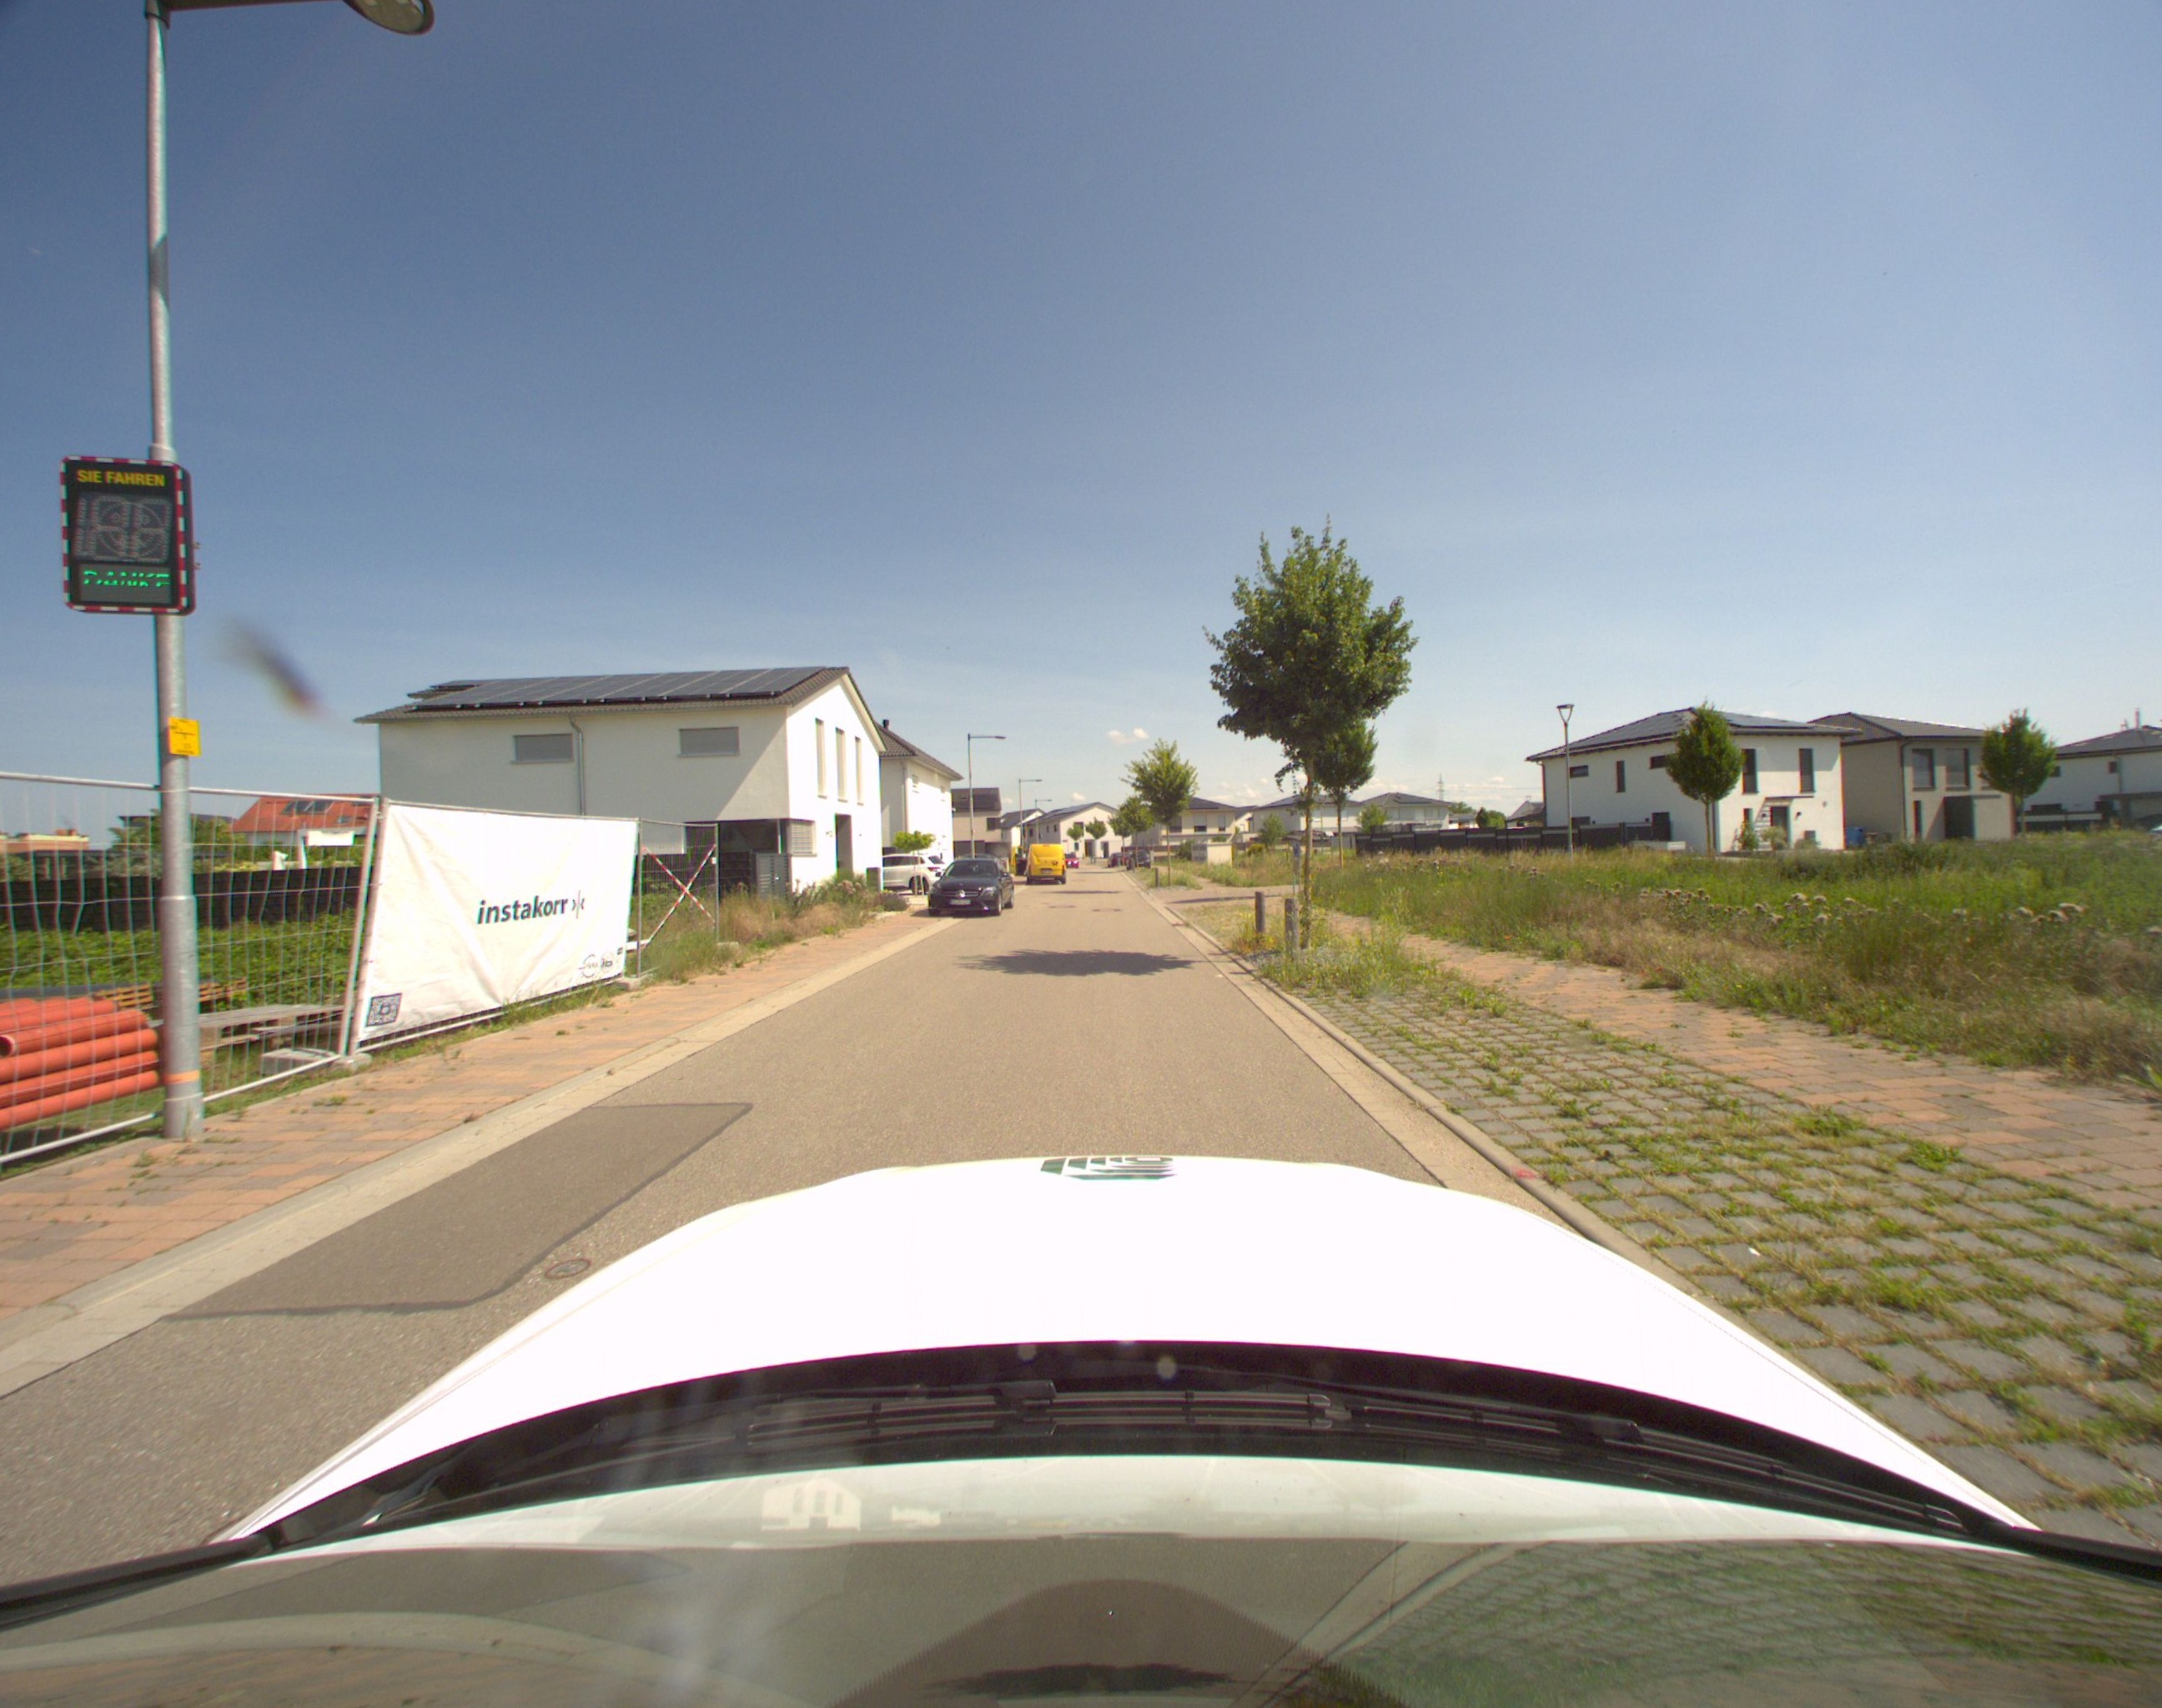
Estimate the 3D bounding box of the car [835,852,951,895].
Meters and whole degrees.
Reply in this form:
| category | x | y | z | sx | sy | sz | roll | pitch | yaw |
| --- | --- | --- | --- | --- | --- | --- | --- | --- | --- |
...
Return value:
| category | x | y | z | sx | sy | sz | roll | pitch | yaw |
| --- | --- | --- | --- | --- | --- | --- | --- | --- | --- |
| car | -7.360 | 0.758 | 32.089 | 4.047 | 1.581 | 1.788 | -1 | 1 | 6 |

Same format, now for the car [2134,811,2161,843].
| category | x | y | z | sx | sy | sz | roll | pitch | yaw |
| --- | --- | --- | --- | --- | --- | --- | --- | --- | --- |
| car | 50.361 | -1.304 | 36.878 | 3.991 | 1.398 | 1.743 | -2 | -1 | -13 |

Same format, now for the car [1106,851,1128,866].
| category | x | y | z | sx | sy | sz | roll | pitch | yaw |
| --- | --- | --- | --- | --- | --- | --- | --- | --- | --- |
| car | 3.542 | 0.495 | 80.317 | 1.625 | 1.322 | 3.825 | -2 | -2 | -5 |

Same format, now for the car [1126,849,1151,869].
| category | x | y | z | sx | sy | sz | roll | pitch | yaw |
| --- | --- | --- | --- | --- | --- | --- | --- | --- | --- |
| car | 4.325 | 0.384 | 61.691 | 1.634 | 1.403 | 3.810 | -2 | -1 | 0 |

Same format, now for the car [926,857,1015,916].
| category | x | y | z | sx | sy | sz | roll | pitch | yaw |
| --- | --- | --- | --- | --- | --- | --- | --- | --- | --- |
| car | -2.842 | 0.795 | 21.796 | 1.739 | 1.405 | 4.160 | 0 | 0 | 1 |

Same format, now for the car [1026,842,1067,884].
| category | x | y | z | sx | sy | sz | roll | pitch | yaw |
| --- | --- | --- | --- | --- | --- | --- | --- | --- | --- |
| car | -1.762 | 0.460 | 41.677 | 1.937 | 1.981 | 4.212 | -2 | -1 | -3 |

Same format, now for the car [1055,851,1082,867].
| category | x | y | z | sx | sy | sz | roll | pitch | yaw |
| --- | --- | --- | --- | --- | --- | --- | --- | --- | --- |
| car | -1.258 | 0.527 | 78.311 | 1.992 | 1.431 | 4.688 | -2 | -1 | -8 |

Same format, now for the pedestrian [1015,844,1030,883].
| category | x | y | z | sx | sy | sz | roll | pitch | yaw |
| --- | --- | --- | --- | --- | --- | --- | --- | --- | --- |
| pedestrian | -3.077 | 0.505 | 43.017 | 0.649 | 2.014 | 1.124 | -2 | -1 | 1 |

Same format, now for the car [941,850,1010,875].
| category | x | y | z | sx | sy | sz | roll | pitch | yaw |
| --- | --- | --- | --- | --- | --- | --- | --- | --- | --- |
| car | -6.830 | 0.552 | 52.465 | 4.168 | 1.505 | 1.806 | 2 | -1 | -15 |
